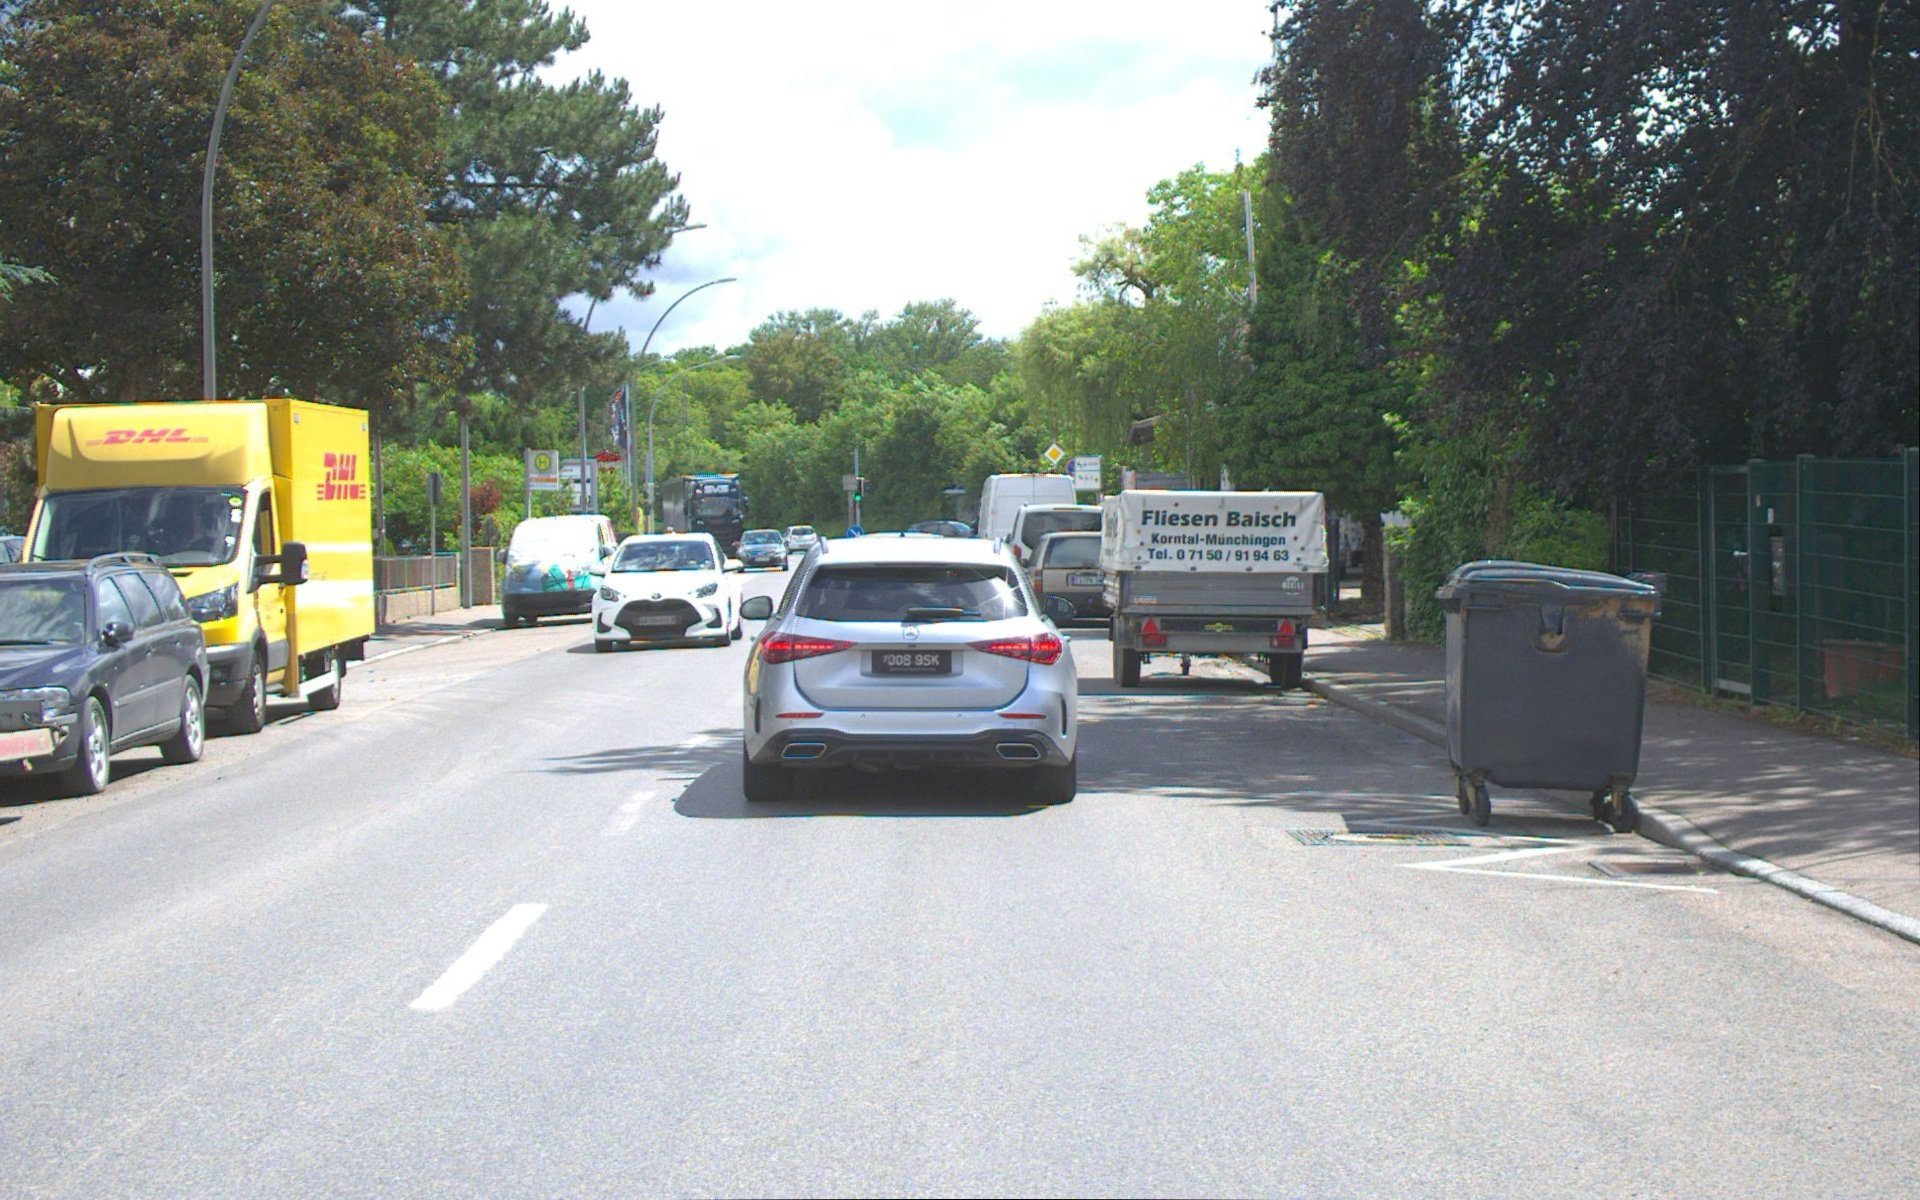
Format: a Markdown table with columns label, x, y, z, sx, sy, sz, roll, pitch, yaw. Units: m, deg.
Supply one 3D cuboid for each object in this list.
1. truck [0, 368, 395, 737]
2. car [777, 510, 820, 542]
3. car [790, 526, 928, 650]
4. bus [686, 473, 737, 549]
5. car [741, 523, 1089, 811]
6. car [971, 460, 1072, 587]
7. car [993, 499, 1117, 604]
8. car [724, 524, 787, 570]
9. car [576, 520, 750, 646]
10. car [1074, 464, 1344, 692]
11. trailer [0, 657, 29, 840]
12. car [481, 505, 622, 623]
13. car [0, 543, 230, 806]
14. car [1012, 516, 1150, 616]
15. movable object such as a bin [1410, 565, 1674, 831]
| label | x | y | z | sx | sy | sz | roll | pitch | yaw |
| --- | --- | --- | --- | --- | --- | --- | --- | --- | --- |
| truck | -6.658 | -0.463 | 30.239 | 2.075 | 2.804 | 7.078 | -2 | 2 | 0 |
| car | -8.524 | -3.907 | 181.093 | 1.933 | 1.629 | 4.364 | -2 | 2 | -7 |
| car | -1.349 | -0.200 | 46.020 | 1.755 | 1.553 | 4.001 | -1 | 2 | -2 |
| bus | -11.416 | -4.083 | 157.592 | 1.993 | 3.352 | 6.984 | 1 | 2 | -6 |
| car | -0.332 | 0.318 | 19.879 | 1.784 | 1.479 | 4.317 | 0 | 1 | -3 |
| car | 1.240 | -1.551 | 70.669 | 1.784 | 2.510 | 4.317 | 0 | 1 | -3 |
| car | 1.576 | -0.818 | 58.565 | 1.784 | 1.709 | 4.317 | 0 | 1 | -3 |
| car | -6.989 | -1.841 | 118.031 | 1.934 | 1.487 | 4.364 | -2 | 2 | -1 |
| car | -3.855 | -0.263 | 45.206 | 1.934 | 1.487 | 4.364 | -2 | 2 | -1 |
| car | 2.297 | -0.258 | 33.107 | 2.144 | 1.977 | 5.261 | -1 | 1 | 0 |
| trailer | -6.022 | 0.858 | 15.504 | 2.228 | 0.921 | 5.949 | 0 | 2 | -2 |
| car | -7.035 | -0.655 | 59.535 | 1.934 | 1.912 | 4.364 | -2 | 2 | -1 |
| car | -6.210 | 0.425 | 22.348 | 2.075 | 1.472 | 4.457 | -2 | 2 | -2 |
| car | 1.828 | -0.531 | 53.155 | 1.784 | 1.479 | 4.317 | 0 | 1 | -3 |
| movable object such as a bin | 2.964 | 0.477 | 17.667 | 1.084 | 1.266 | 1.380 | 1 | 1 | 0 |
